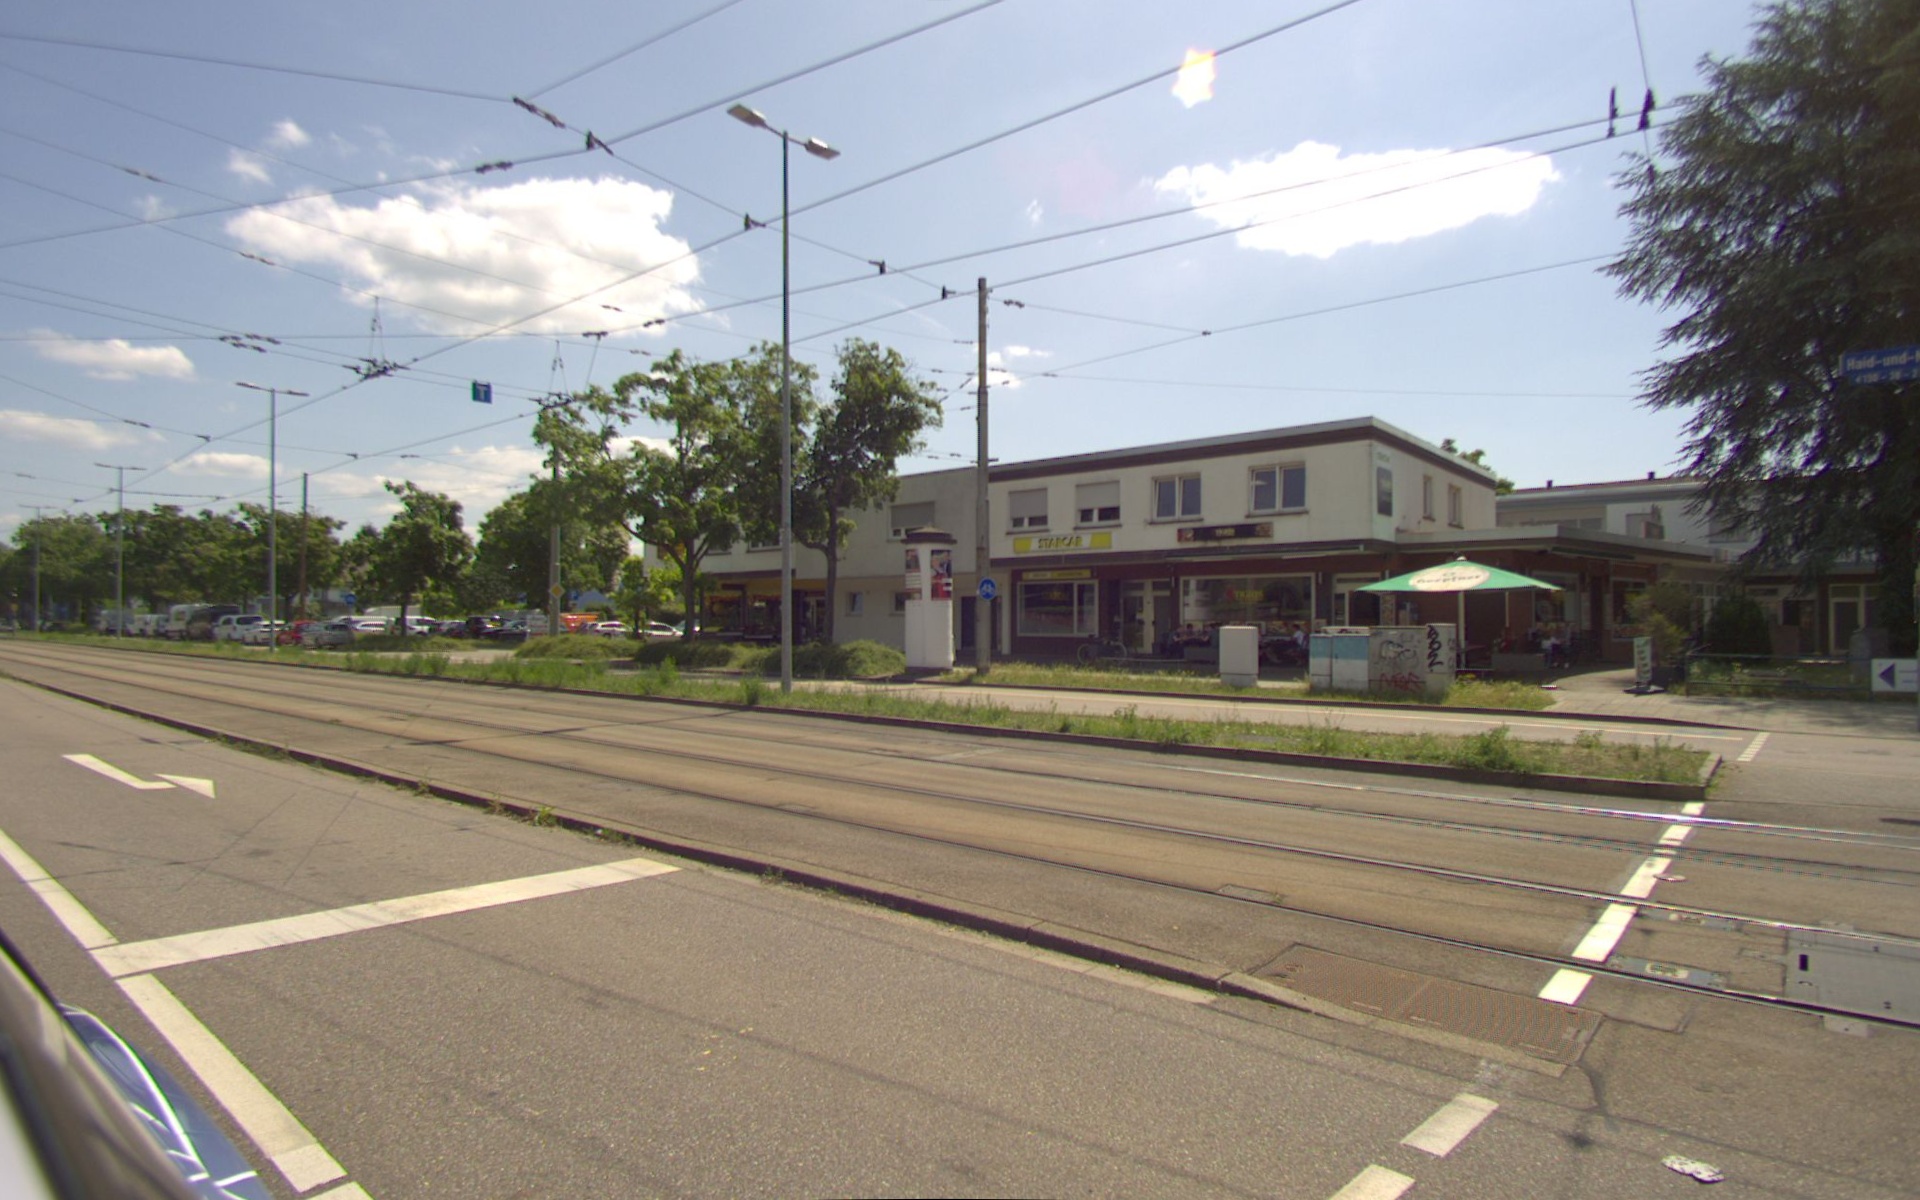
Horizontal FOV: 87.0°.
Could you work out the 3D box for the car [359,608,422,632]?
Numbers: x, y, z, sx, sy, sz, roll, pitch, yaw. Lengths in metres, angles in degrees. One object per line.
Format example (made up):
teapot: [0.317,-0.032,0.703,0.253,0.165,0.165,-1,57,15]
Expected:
car: [-62.936,2.235,112.005,2.257,2.500,5.628,-1,-2,38]

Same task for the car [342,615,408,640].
car: [-44.651,2.112,77.284,1.802,1.749,3.945,0,-3,41]

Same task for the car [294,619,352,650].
car: [-35.459,1.875,56.272,4.550,1.551,1.560,0,1,42]

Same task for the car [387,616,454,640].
car: [-39.673,2.069,74.425,1.902,1.749,3.945,-1,-2,41]

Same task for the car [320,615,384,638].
car: [-50.328,2.210,83.763,1.802,1.749,4.145,0,-3,41]

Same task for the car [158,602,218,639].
car: [-58.389,1.522,76.488,6.699,2.631,2.129,0,1,40]

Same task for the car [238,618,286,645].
car: [-43.053,1.933,62.387,4.358,1.551,1.483,0,1,42]

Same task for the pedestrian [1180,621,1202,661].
pedestrian: [7.361,1.294,32.204,0.580,1.278,0.348,-1,-2,42]

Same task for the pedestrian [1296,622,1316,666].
pedestrian: [10.156,1.289,29.687,0.452,1.278,0.337,-2,-2,43]

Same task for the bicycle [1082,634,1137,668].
bicycle: [4.719,1.593,32.002,1.801,1.049,0.393,-1,-2,43]

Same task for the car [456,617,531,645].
car: [-30.105,1.980,65.353,1.878,1.749,3.945,-1,-2,41]

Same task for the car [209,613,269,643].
car: [-47.783,1.834,67.057,4.886,1.851,2.128,0,1,41]

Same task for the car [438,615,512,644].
car: [-31.972,1.974,66.766,1.802,1.749,3.945,0,-3,41]

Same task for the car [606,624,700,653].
car: [-16.191,2.012,53.502,1.906,1.445,4.425,-1,-2,43]

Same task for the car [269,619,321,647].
car: [-39.324,1.941,59.814,3.644,1.551,1.485,0,1,38]

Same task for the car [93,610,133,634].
car: [-79.104,2.002,94.477,4.484,2.117,2.046,0,1,39]

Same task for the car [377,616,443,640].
car: [-41.530,2.128,76.490,1.802,1.749,3.945,0,-3,41]

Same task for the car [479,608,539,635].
car: [-41.071,1.979,92.311,1.849,2.242,4.595,0,-3,38]

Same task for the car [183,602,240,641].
car: [-52.463,1.455,70.918,5.031,2.631,2.128,0,1,41]

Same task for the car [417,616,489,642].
car: [-34.258,1.955,68.464,1.802,1.749,3.945,-1,-2,41]

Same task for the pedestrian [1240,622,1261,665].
pedestrian: [8.641,1.296,30.118,0.501,1.278,0.315,-2,-2,42]

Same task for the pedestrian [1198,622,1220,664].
pedestrian: [7.626,1.309,30.990,0.528,1.278,0.340,-2,-2,43]

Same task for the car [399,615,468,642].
car: [-37.803,2.057,72.729,1.802,1.749,3.945,0,-3,41]

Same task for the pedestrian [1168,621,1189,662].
pedestrian: [6.854,1.308,31.704,0.532,1.278,0.349,-2,-2,42]

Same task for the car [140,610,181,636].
car: [-64.925,1.830,82.155,4.647,1.953,1.771,0,1,41]

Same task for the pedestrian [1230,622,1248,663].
pedestrian: [8.609,1.295,31.273,0.400,1.255,0.382,-2,-2,41]

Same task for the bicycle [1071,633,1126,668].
bicycle: [4.326,1.578,31.683,1.801,1.049,0.393,-1,-2,43]

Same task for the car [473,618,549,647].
car: [-28.126,2.014,63.421,1.802,1.749,3.945,-1,-2,41]

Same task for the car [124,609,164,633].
car: [-69.905,1.785,86.719,4.484,1.953,1.773,0,1,39]
